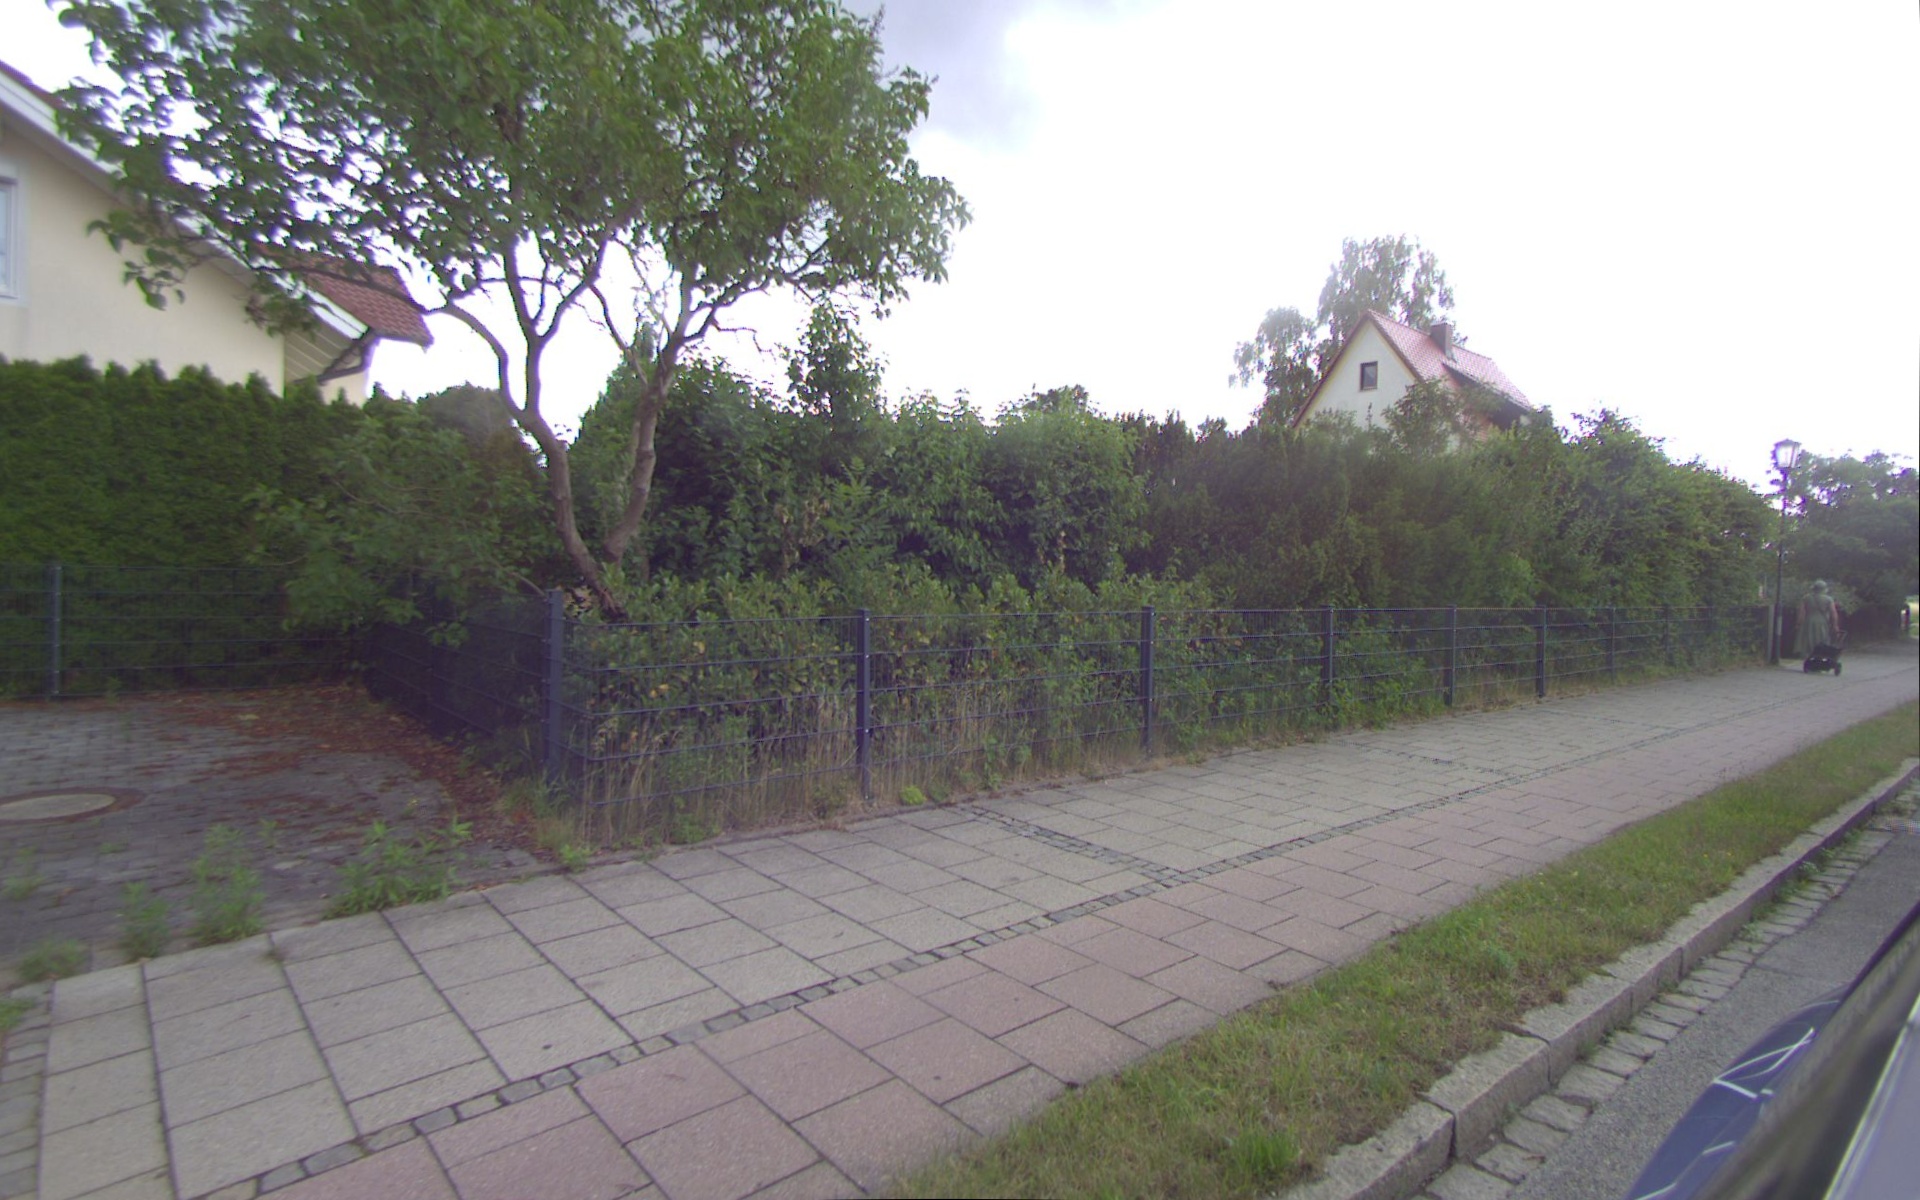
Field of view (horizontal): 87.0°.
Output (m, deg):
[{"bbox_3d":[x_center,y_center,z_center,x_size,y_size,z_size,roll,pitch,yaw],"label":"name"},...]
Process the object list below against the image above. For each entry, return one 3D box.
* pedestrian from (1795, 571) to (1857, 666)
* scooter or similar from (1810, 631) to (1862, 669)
[{"bbox_3d":[15.334,0.307,17.922,0.790,1.622,0.661,1,1,43],"label":"pedestrian"},{"bbox_3d":[15.012,0.851,17.356,0.616,0.563,0.732,5,4,40],"label":"scooter or similar"}]
